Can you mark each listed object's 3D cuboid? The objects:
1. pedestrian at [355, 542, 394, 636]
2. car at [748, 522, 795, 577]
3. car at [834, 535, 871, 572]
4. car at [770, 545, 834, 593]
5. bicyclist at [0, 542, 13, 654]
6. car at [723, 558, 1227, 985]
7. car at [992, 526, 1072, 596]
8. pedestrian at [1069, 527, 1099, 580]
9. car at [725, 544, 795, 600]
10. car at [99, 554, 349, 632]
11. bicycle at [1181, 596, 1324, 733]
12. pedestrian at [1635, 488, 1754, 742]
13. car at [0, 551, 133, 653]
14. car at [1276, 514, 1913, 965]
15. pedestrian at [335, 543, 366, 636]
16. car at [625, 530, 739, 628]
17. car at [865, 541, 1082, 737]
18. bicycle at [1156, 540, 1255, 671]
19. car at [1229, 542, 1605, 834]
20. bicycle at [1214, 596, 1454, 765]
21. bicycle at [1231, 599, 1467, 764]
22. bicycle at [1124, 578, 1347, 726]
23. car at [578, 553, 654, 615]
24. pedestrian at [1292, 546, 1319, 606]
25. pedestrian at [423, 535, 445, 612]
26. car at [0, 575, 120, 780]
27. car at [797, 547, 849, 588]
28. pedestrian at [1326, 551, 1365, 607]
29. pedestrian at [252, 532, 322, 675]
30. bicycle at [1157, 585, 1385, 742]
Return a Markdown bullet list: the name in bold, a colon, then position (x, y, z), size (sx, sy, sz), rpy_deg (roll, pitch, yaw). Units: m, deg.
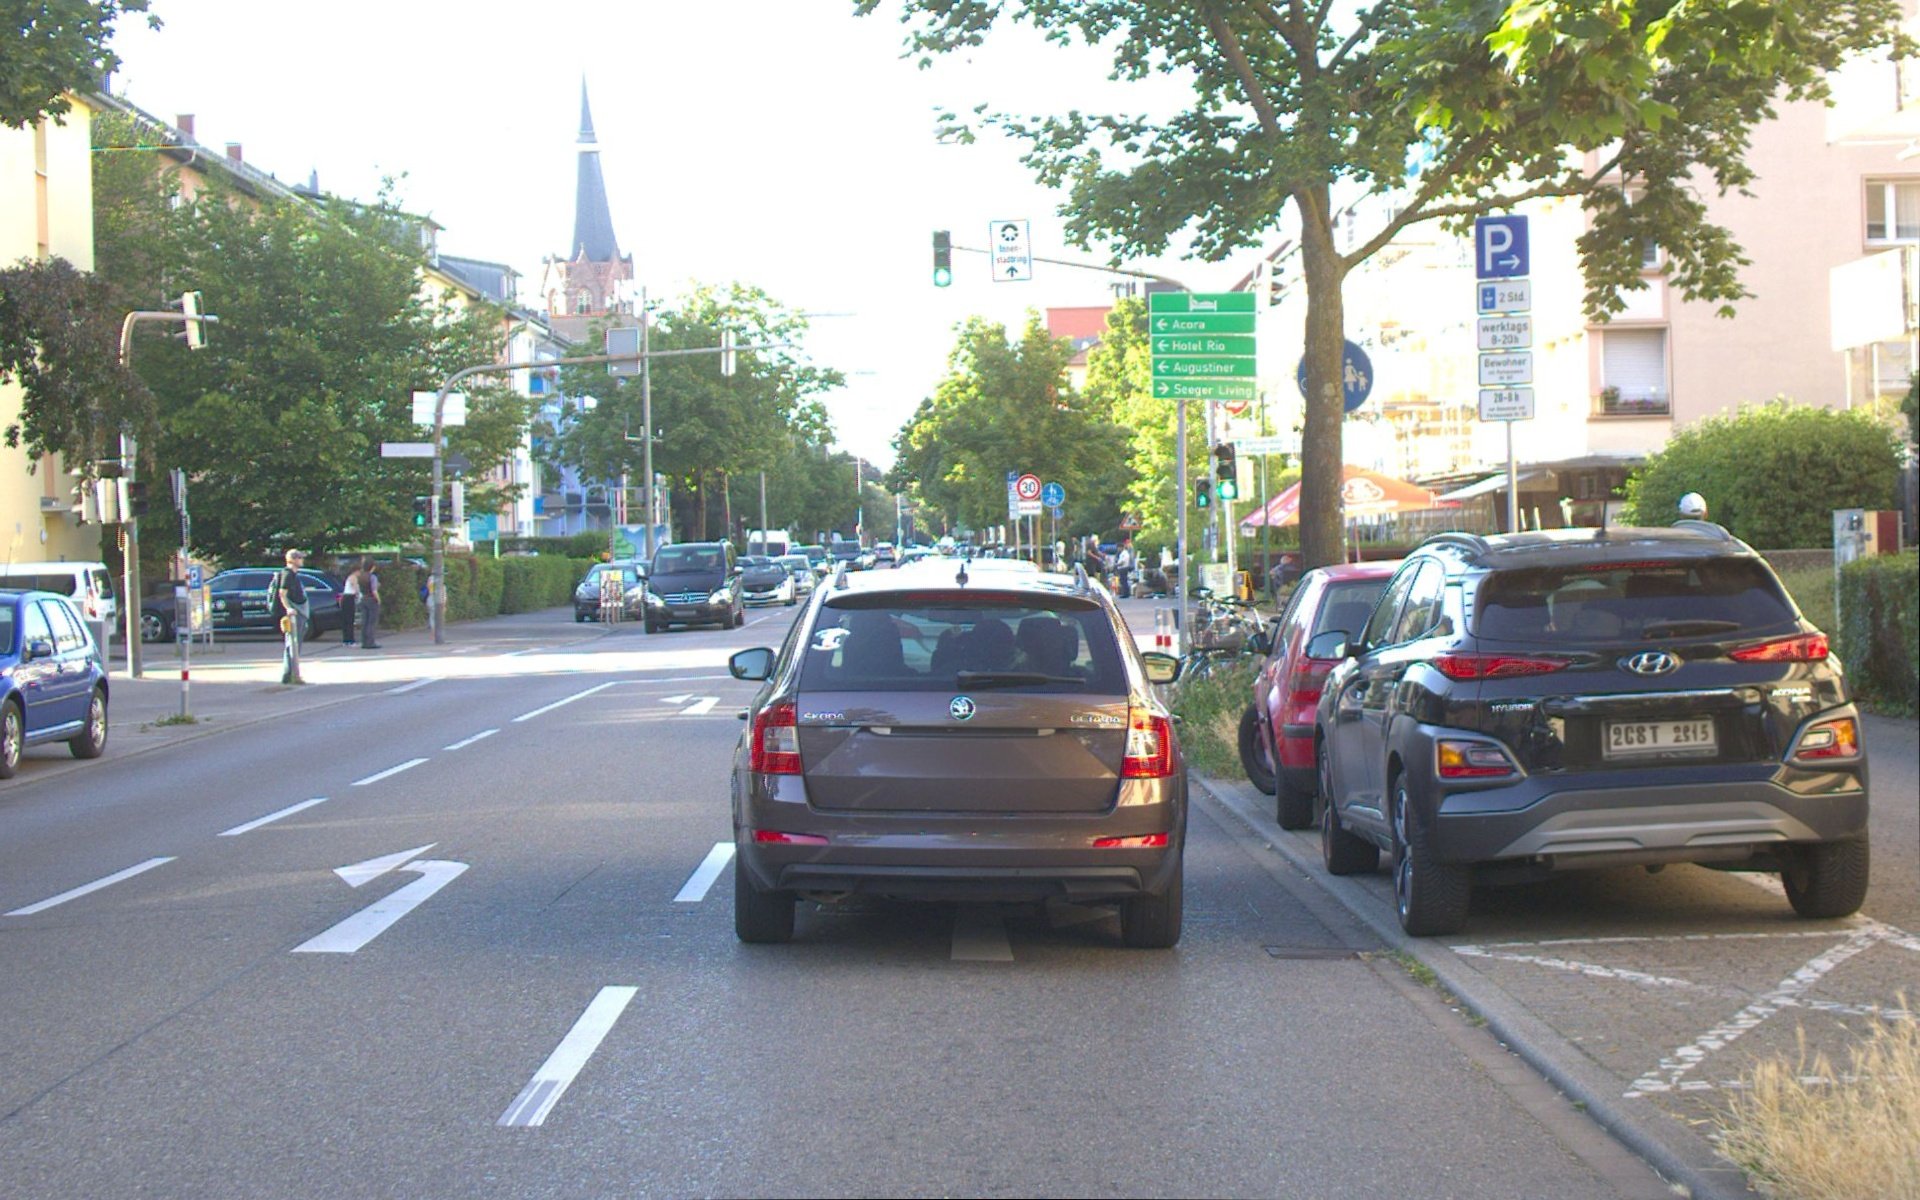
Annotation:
- **pedestrian**: position (-11.263, -0.219, 66.183), size (0.616, 1.791, 0.504), rpy_deg (-2, 1, 0)
- **car**: position (-8.862, -2.378, 161.875), size (1.993, 2.469, 4.000), rpy_deg (-1, 1, 0)
- **car**: position (-6.156, -2.679, 197.587), size (1.993, 2.007, 4.000), rpy_deg (-1, 1, 0)
- **car**: position (-5.514, -1.095, 120.168), size (1.993, 1.605, 4.000), rpy_deg (-1, 1, 0)
- **bicyclist**: position (-15.875, -0.031, 55.994), size (0.739, 1.817, 0.654), rpy_deg (-1, 1, -9)
- **car**: position (0.017, 0.575, 14.239), size (1.773, 1.484, 4.311), rpy_deg (0, 1, -1)
- **car**: position (1.904, -1.028, 89.549), size (1.994, 1.766, 4.000), rpy_deg (1, 1, 2)
- **pedestrian**: position (4.025, -1.500, 111.374), size (0.675, 1.698, 0.800), rpy_deg (-1, 1, 26)
- **car**: position (-5.949, -0.851, 102.610), size (1.830, 1.574, 4.000), rpy_deg (-2, 1, 0)
- **car**: position (-14.787, -0.152, 69.246), size (4.634, 1.530, 1.862), rpy_deg (0, 1, -1)
- **bicycle**: position (2.391, 0.510, 27.985), size (0.619, 1.048, 1.571), rpy_deg (-1, 1, 26)
- **pedestrian**: position (5.180, 0.099, 24.270), size (0.663, 1.743, 0.772), rpy_deg (-3, 1, 6)
- **car**: position (-17.776, 0.055, 63.249), size (4.634, 1.805, 1.862), rpy_deg (-1, 1, -1)
- **car**: position (2.532, 0.485, 14.714), size (1.855, 1.576, 4.014), rpy_deg (-3, 1, -1)
- **pedestrian**: position (-11.803, -0.203, 66.603), size (0.449, 1.791, 0.504), rpy_deg (-2, 1, 0)
- **car**: position (-5.884, -0.473, 73.199), size (1.993, 1.902, 4.964), rpy_deg (-3, 1, -1)
- **car**: position (0.119, 0.286, 29.773), size (1.737, 1.565, 4.000), rpy_deg (1, 1, 0)
- **bicycle**: position (2.269, 0.044, 31.954), size (0.501, 1.143, 1.959), rpy_deg (-4, 1, -6)
- **car**: position (2.548, 0.429, 20.011), size (1.703, 1.445, 4.013), rpy_deg (-3, 1, 2)
- **bicycle**: position (2.531, 0.540, 23.345), size (1.570, 1.100, 0.392), rpy_deg (-1, 1, 1)
- **bicycle**: position (2.696, 0.565, 23.933), size (1.570, 1.100, 0.501), rpy_deg (-1, 1, 1)
- **bicycle**: position (2.387, 0.444, 29.694), size (1.835, 1.153, 0.683), rpy_deg (-4, 0, 6)
- **car**: position (-8.511, -0.411, 85.287), size (1.522, 1.452, 3.585), rpy_deg (-1, 1, 0)
- **pedestrian**: position (7.565, -0.521, 75.255), size (0.499, 1.298, 0.507), rpy_deg (-1, 1, -3)
- **pedestrian**: position (-10.335, -0.527, 67.566), size (0.301, 1.499, 0.640), rpy_deg (-1, 1, 0)
- **car**: position (-8.037, 0.570, 27.541), size (1.648, 1.512, 4.074), rpy_deg (0, 1, 0)
- **car**: position (-5.287, -1.269, 133.105), size (1.787, 1.565, 4.000), rpy_deg (1, 1, 0)
- **pedestrian**: position (8.349, -0.465, 74.463), size (0.729, 1.194, 0.855), rpy_deg (-1, 1, 0)
- **pedestrian**: position (-9.489, 0.039, 48.495), size (0.780, 1.981, 0.821), rpy_deg (-2, 1, 0)
- **bicycle**: position (2.421, 0.488, 26.735), size (1.687, 1.104, 0.517), rpy_deg (-4, 0, 6)
